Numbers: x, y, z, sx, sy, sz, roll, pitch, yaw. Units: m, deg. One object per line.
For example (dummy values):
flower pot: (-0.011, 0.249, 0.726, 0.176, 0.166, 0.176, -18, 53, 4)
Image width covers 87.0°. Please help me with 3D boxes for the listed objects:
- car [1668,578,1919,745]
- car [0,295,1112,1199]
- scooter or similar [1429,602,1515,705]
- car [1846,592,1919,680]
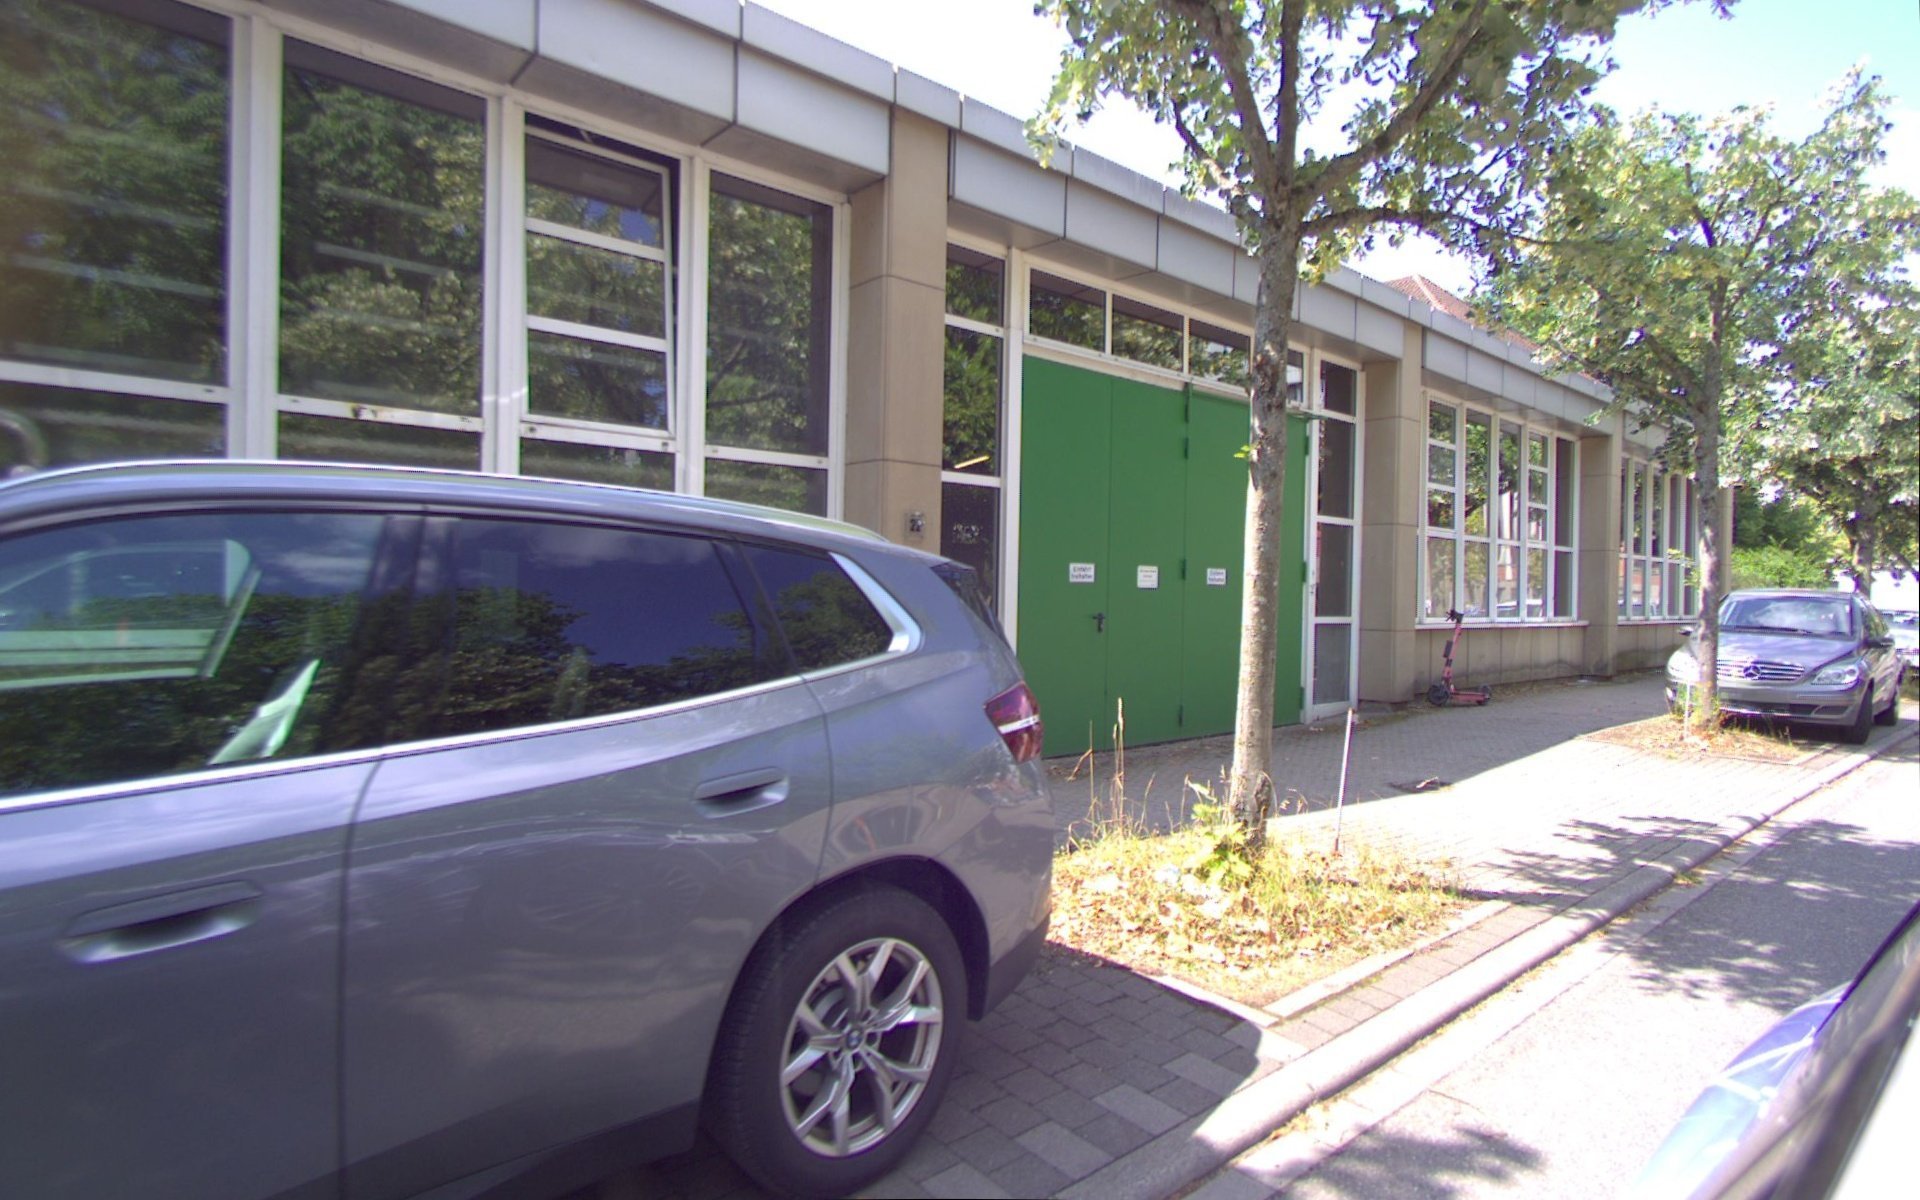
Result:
car: (9.904, 0.589, 11.887, 4.069, 1.593, 1.707, 0, 2, -42)
car: (-1.801, 0.433, 2.112, 4.507, 1.685, 1.824, 0, 0, -43)
scooter or similar: (6.549, 0.657, 12.920, 1.467, 1.232, 0.416, 0, 2, -41)
car: (18.250, 0.641, 19.130, 4.592, 1.485, 1.728, 0, 2, -42)
